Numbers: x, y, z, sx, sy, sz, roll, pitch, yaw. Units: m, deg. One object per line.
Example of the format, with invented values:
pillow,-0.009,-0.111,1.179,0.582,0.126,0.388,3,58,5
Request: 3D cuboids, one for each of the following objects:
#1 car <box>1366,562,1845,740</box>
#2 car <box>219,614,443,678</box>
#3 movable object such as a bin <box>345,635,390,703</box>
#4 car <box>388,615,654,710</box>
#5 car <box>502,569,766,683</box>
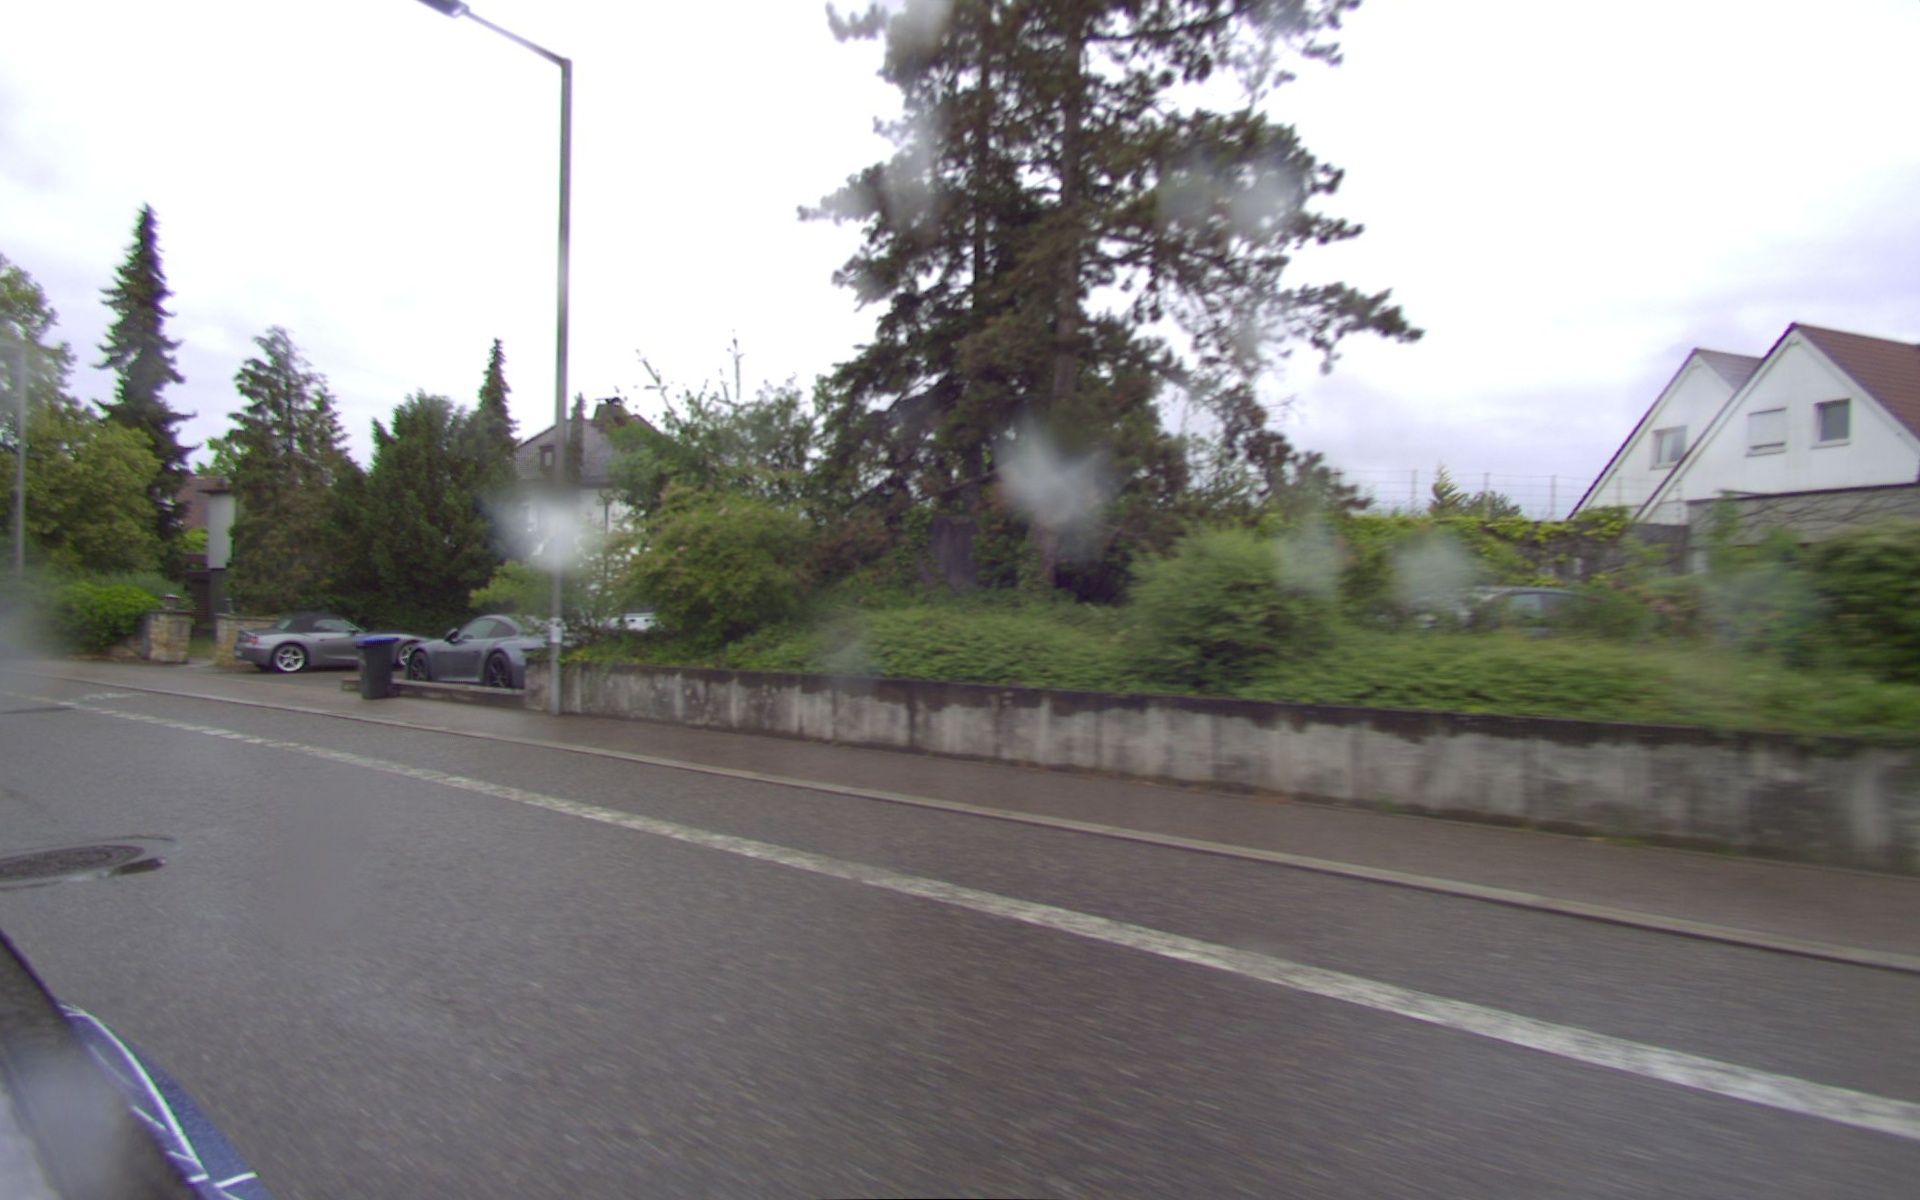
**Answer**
car,6.874,0.487,11.223,1.966,1.586,4.012,1,-1,-31
car,-14.154,0.968,22.942,1.872,1.281,3.946,0,0,40
movable object such as a bin,-8.913,1.032,15.228,0.557,0.995,0.367,-1,-1,34
car,-7.117,0.909,16.255,4.425,1.317,1.975,0,-1,36
car,-6.250,0.449,19.032,5.469,1.858,1.975,0,-1,37
